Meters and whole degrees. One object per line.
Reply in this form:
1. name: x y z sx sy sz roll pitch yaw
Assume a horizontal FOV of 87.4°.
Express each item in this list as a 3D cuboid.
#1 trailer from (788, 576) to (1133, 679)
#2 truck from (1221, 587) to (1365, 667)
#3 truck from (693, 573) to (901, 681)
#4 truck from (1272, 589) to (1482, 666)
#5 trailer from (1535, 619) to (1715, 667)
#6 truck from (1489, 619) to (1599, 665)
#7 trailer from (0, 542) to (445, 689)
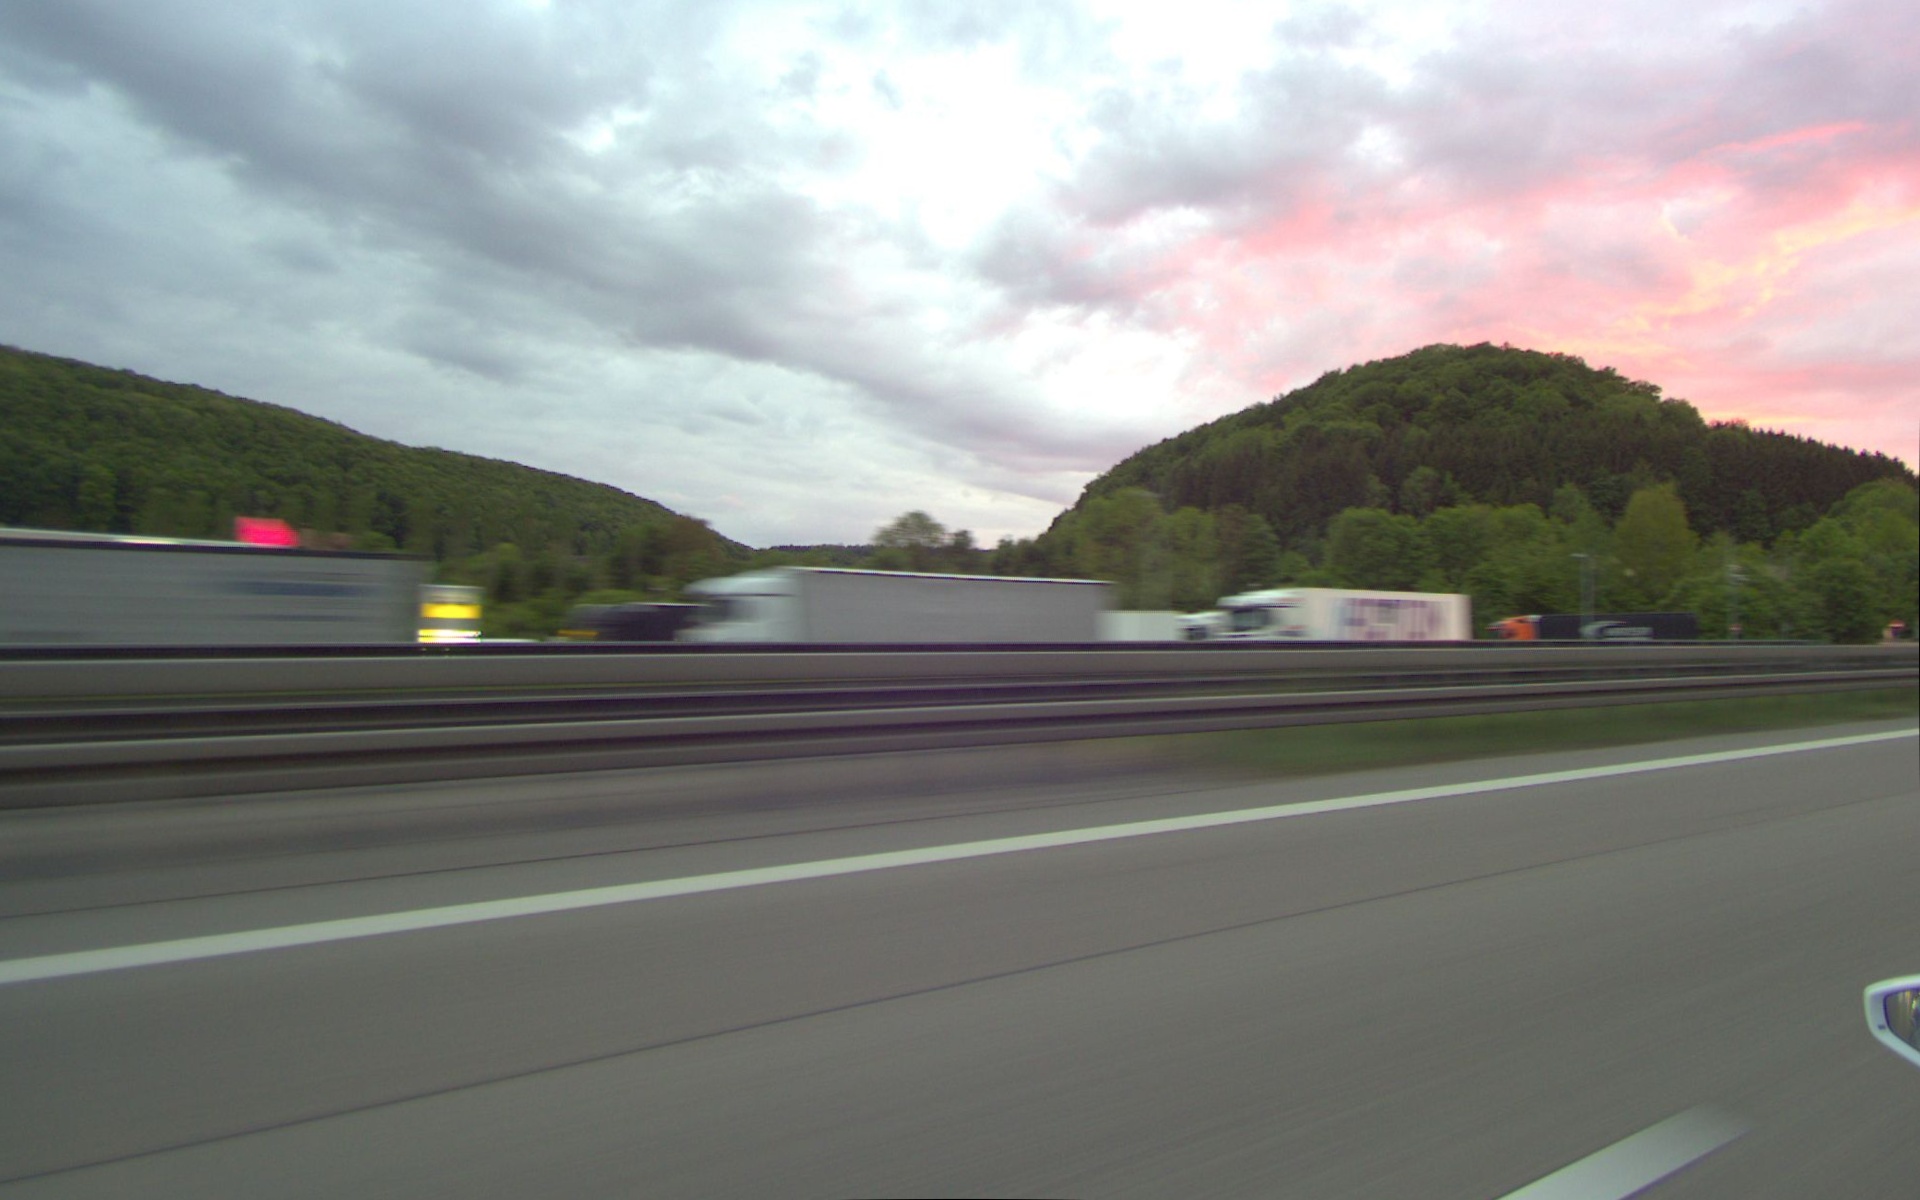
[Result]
1. trailer: 0.380 1.078 38.659 13.685 3.470 2.860 1 -1 -30
2. truck: 15.465 1.237 46.494 6.656 3.470 2.856 1 -1 -34
3. truck: -5.677 0.935 35.203 6.644 3.470 2.861 1 -1 -29
4. truck: 21.265 1.390 50.502 13.650 3.470 2.855 1 -1 -35
5. trailer: 55.736 3.579 84.415 13.079 3.727 3.072 1 -1 0
6. truck: 49.009 3.513 84.455 7.526 3.727 3.014 1 -1 0
7. trailer: -21.124 0.430 26.375 13.407 3.470 2.860 1 -1 -30
